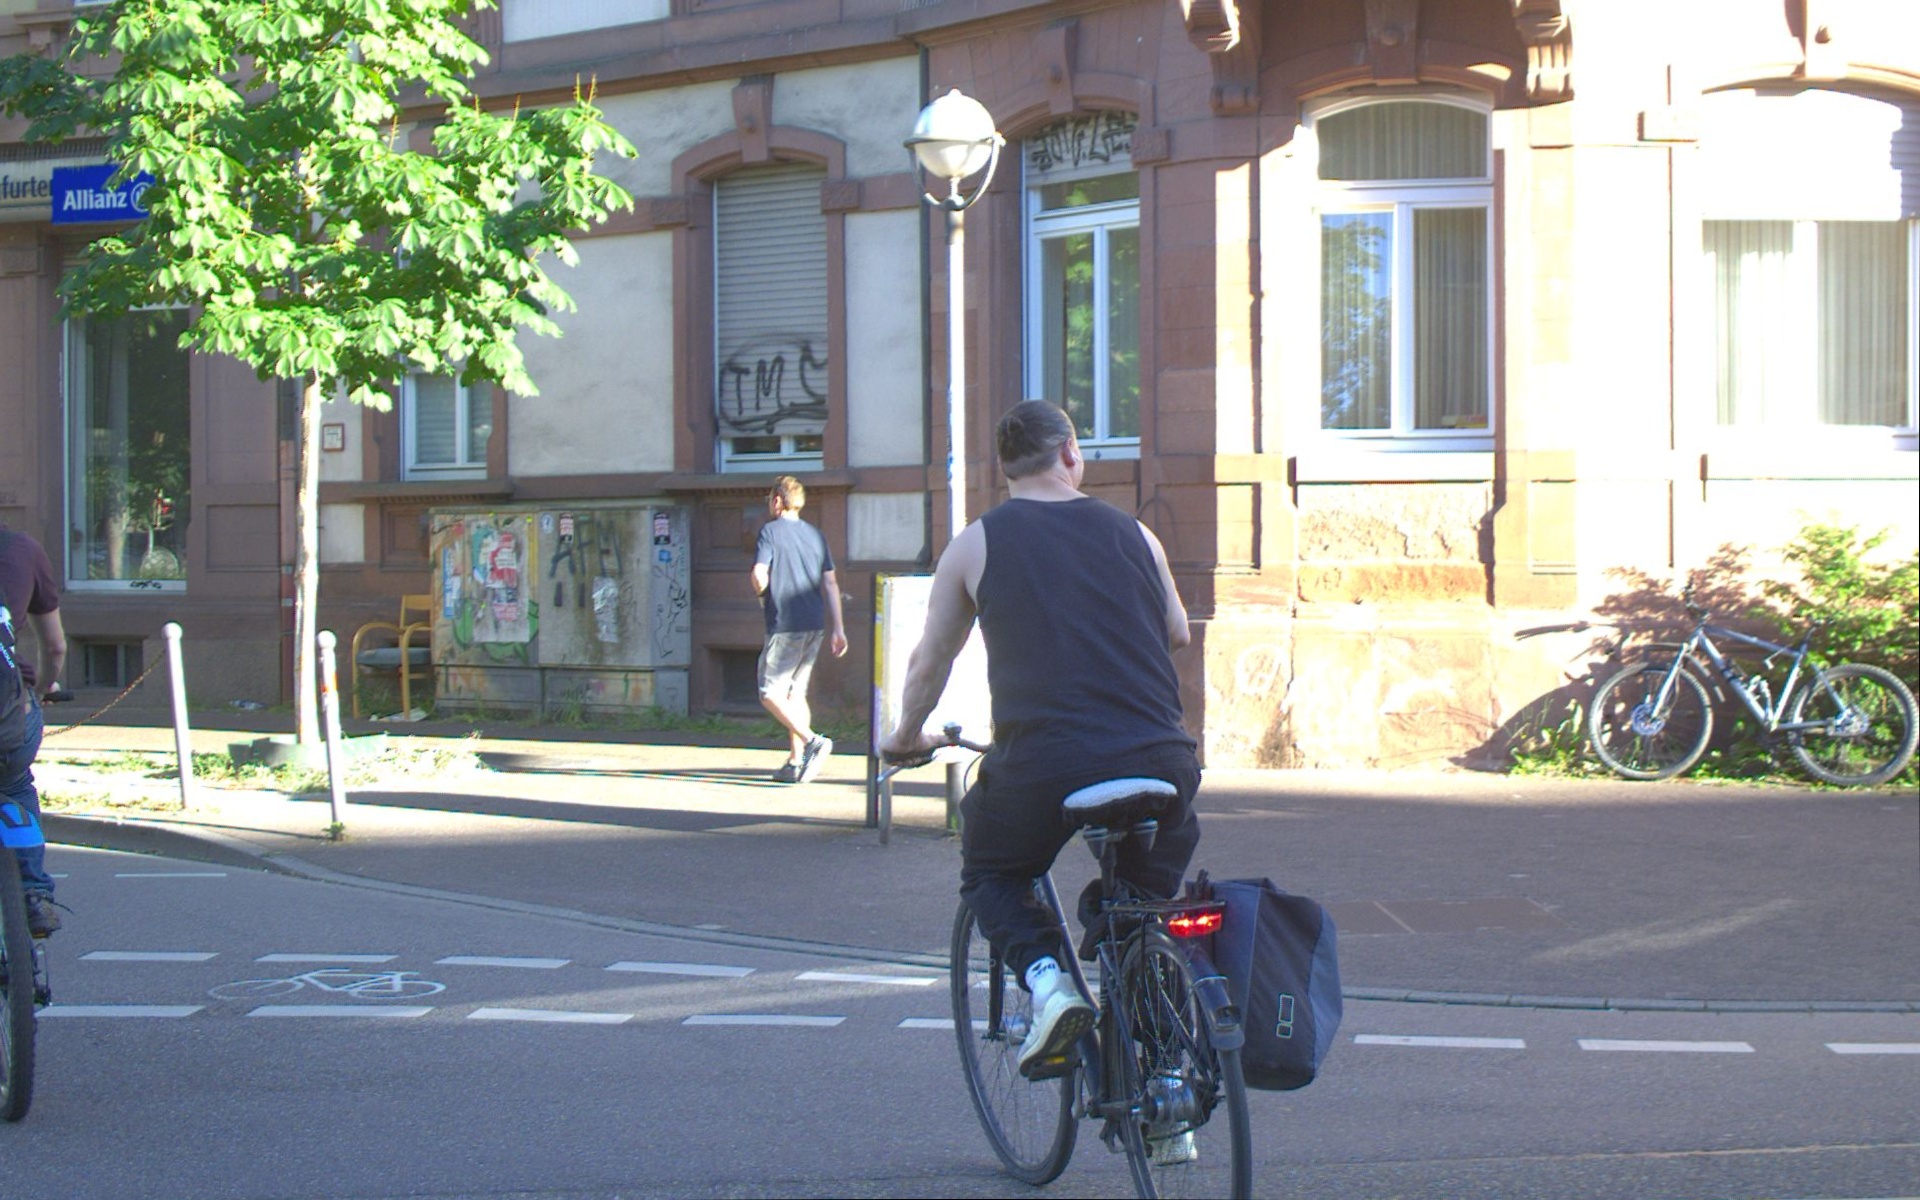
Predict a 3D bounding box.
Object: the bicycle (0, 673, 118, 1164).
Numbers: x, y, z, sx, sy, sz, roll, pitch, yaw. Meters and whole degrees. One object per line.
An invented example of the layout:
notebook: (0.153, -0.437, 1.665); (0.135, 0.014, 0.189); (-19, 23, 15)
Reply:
bicycle: (-2.692, 0.787, 9.208); (0.717, 1.103, 1.967); (0, 1, -10)

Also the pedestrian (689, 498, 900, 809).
pedestrian: (-0.912, 0.269, 18.847); (0.723, 1.629, 0.904); (-1, 4, -41)

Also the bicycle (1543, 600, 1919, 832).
bicycle: (4.118, 0.592, 18.152); (1.963, 1.103, 0.442); (3, 2, 24)

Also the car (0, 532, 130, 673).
car: (-10.426, -0.006, 37.348); (1.501, 1.452, 3.206); (1, 1, 12)

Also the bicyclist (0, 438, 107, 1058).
bicyclist: (-2.659, 0.365, 9.133); (0.706, 1.568, 0.957); (0, 1, -11)

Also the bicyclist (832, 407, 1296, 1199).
bicyclist: (0.195, 0.449, 7.279); (0.686, 1.650, 0.990); (0, 0, -17)
